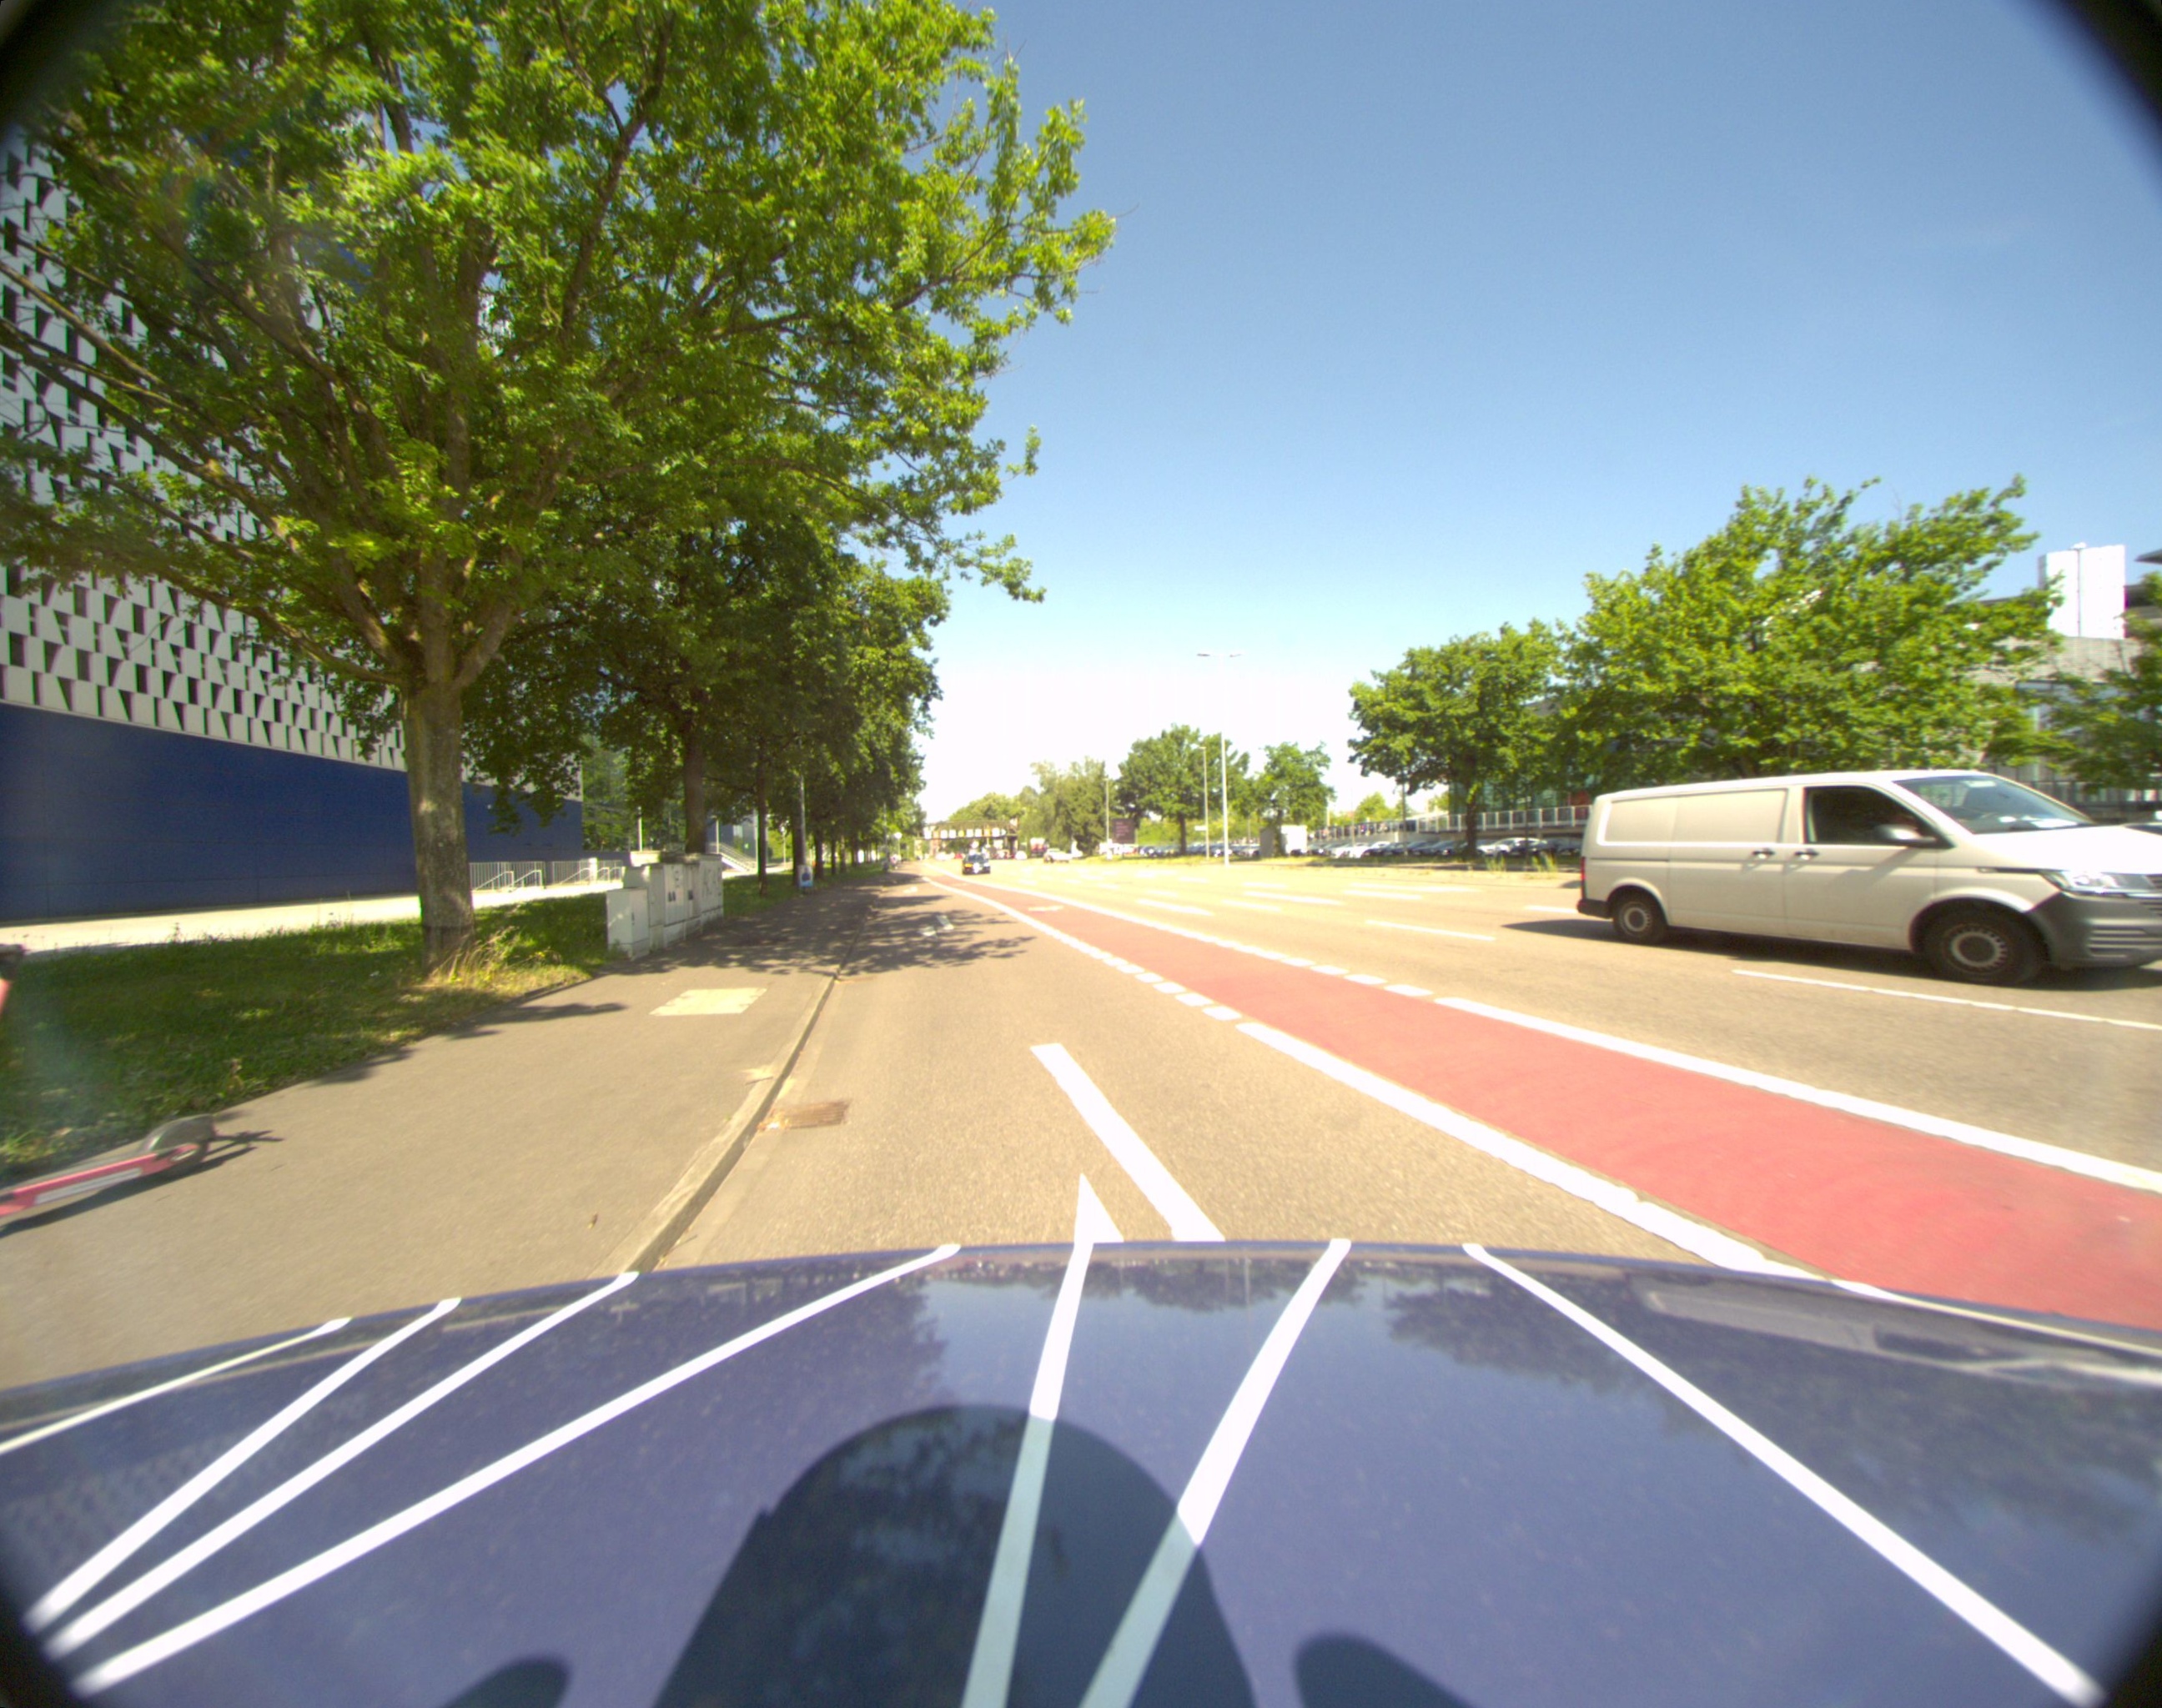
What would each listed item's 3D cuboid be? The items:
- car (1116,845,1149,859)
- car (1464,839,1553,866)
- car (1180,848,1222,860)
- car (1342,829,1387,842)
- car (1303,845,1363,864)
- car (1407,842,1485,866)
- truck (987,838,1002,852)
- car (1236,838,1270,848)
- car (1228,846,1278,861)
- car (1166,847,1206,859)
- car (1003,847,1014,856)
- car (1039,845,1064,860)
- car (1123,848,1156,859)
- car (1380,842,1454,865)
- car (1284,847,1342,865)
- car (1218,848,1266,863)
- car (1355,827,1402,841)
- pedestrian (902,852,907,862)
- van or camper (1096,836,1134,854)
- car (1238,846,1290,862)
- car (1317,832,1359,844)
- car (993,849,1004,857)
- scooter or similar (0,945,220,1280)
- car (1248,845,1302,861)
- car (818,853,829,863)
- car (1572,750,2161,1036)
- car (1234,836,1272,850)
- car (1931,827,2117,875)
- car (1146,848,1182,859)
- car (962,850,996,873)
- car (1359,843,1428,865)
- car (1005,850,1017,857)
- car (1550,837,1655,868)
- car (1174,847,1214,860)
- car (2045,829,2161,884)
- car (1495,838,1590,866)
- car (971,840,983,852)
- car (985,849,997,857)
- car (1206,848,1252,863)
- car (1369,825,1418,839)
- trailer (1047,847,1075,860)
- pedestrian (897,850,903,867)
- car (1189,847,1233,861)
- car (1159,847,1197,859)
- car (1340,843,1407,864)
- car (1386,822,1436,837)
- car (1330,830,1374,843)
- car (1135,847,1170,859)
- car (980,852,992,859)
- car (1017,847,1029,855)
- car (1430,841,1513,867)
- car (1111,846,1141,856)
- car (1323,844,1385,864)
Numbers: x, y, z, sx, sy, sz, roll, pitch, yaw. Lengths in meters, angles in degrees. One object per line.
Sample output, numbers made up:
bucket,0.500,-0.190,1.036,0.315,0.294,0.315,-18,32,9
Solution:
car,7.389,-0.332,109.610,4.280,1.873,1.952,-2,0,-10
car,23.417,-0.077,41.672,4.001,1.368,1.922,-1,0,-13
car,13.613,-0.005,86.387,4.280,1.343,1.952,-1,0,-10
car,31.189,-2.054,83.619,4.281,1.343,1.952,-1,0,-12
car,19.616,0.018,59.213,4.001,1.368,1.863,-1,0,-13
car,22.310,0.004,46.500,4.001,1.368,1.922,-1,0,-13
truck,-20.894,-2.077,182.756,2.350,3.070,7.060,-2,0,-16
car,24.592,-1.596,108.811,4.281,1.343,1.952,-1,0,-12
car,16.609,-0.025,73.570,4.280,1.343,1.952,-1,0,-10
car,12.651,-0.148,91.554,4.280,1.343,1.952,-1,0,-10
car,-15.531,-0.528,161.969,2.000,2.002,5.342,-1,0,-8
car,-3.741,-0.187,94.477,2.001,1.822,4.931,-1,0,-15
car,8.191,-0.072,107.329,4.280,1.495,1.952,-1,0,-10
car,21.765,-0.015,49.232,4.001,1.368,1.922,-1,0,-13
car,18.859,0.178,61.781,4.001,1.368,1.998,-1,0,-13
car,16.048,0.116,75.902,4.280,1.343,1.952,-1,0,-10
car,31.820,-2.162,81.249,4.281,1.343,1.952,-1,0,-12
pedestrian,-27.273,0.500,117.540,0.649,1.594,0.846,-1,1,-12
van or camper,5.396,-1.476,120.750,5.398,2.456,1.998,-4,0,-15
car,17.065,-0.020,71.033,4.280,1.343,1.952,-1,0,-10
car,30.013,-1.873,88.715,4.281,1.343,1.952,-1,0,-12
car,-19.049,-0.153,175.282,1.991,1.679,4.284,0,-1,-12
scooter or similar,-4.434,1.063,3.077,0.352,1.226,1.311,-1,1,1
car,17.576,-0.093,68.833,4.280,1.343,1.952,-1,0,-10
car,-50.010,0.720,147.560,1.913,1.818,4.173,-2,0,-18
car,7.939,0.261,7.845,1.888,1.982,4.969,-1,0,-11
car,21.823,-1.389,96.616,4.280,1.633,1.952,-1,0,-10
car,28.230,-0.097,22.799,4.002,1.304,1.998,-1,0,-14
car,10.865,-0.073,99.081,4.280,1.343,1.952,-1,0,-10
car,-7.471,0.529,55.129,1.912,1.511,4.368,-1,0,-15
car,21.295,0.010,51.820,4.001,1.368,1.922,-1,0,-13
car,-14.180,-0.141,153.774,2.001,1.405,4.676,-1,0,-12
car,25.062,-0.093,36.567,4.001,1.368,1.922,-1,0,-13
car,13.253,-0.075,89.103,4.280,1.343,1.952,-1,0,-10
car,27.952,0.015,19.780,4.165,1.335,1.998,-1,0,-14
car,24.000,-0.112,39.537,4.001,1.368,1.922,-1,0,-13
car,-24.140,-1.836,176.434,2.001,2.788,6.929,1,0,-14
car,-16.901,-0.160,142.114,1.789,1.406,3.995,0,0,-13
car,15.303,0.145,78.725,4.280,1.343,1.952,-1,0,-10
car,32.296,-2.279,78.579,4.281,1.343,1.952,-1,0,-12
trailer,-2.350,-0.022,89.256,2.001,1.444,5.764,-1,0,-15
pedestrian,-19.094,0.478,80.150,0.537,1.831,0.727,-2,1,-12
car,14.366,0.010,84.101,4.280,1.343,1.952,-1,0,-10
car,11.988,-0.124,93.873,4.280,1.343,1.952,-1,0,-10
car,20.815,-0.046,54.126,4.056,1.368,2.023,-1,0,-13
car,32.927,-2.397,75.830,4.281,1.343,1.952,-1,0,-12
car,30.766,-1.953,86.163,4.281,1.343,1.952,-1,0,-12
car,9.546,-0.125,101.144,4.280,1.373,1.952,-1,0,-10
car,-18.775,0.259,150.359,1.848,1.455,4.994,1,0,-12
car,-10.426,-0.529,136.326,1.660,1.455,3.545,0,0,-15
car,22.699,-0.004,44.210,4.001,1.368,1.922,-1,0,-13
car,6.645,-0.456,112.420,4.101,1.286,1.742,-1,0,-10
car,20.343,0.021,56.652,4.001,1.368,1.863,-1,0,-13
